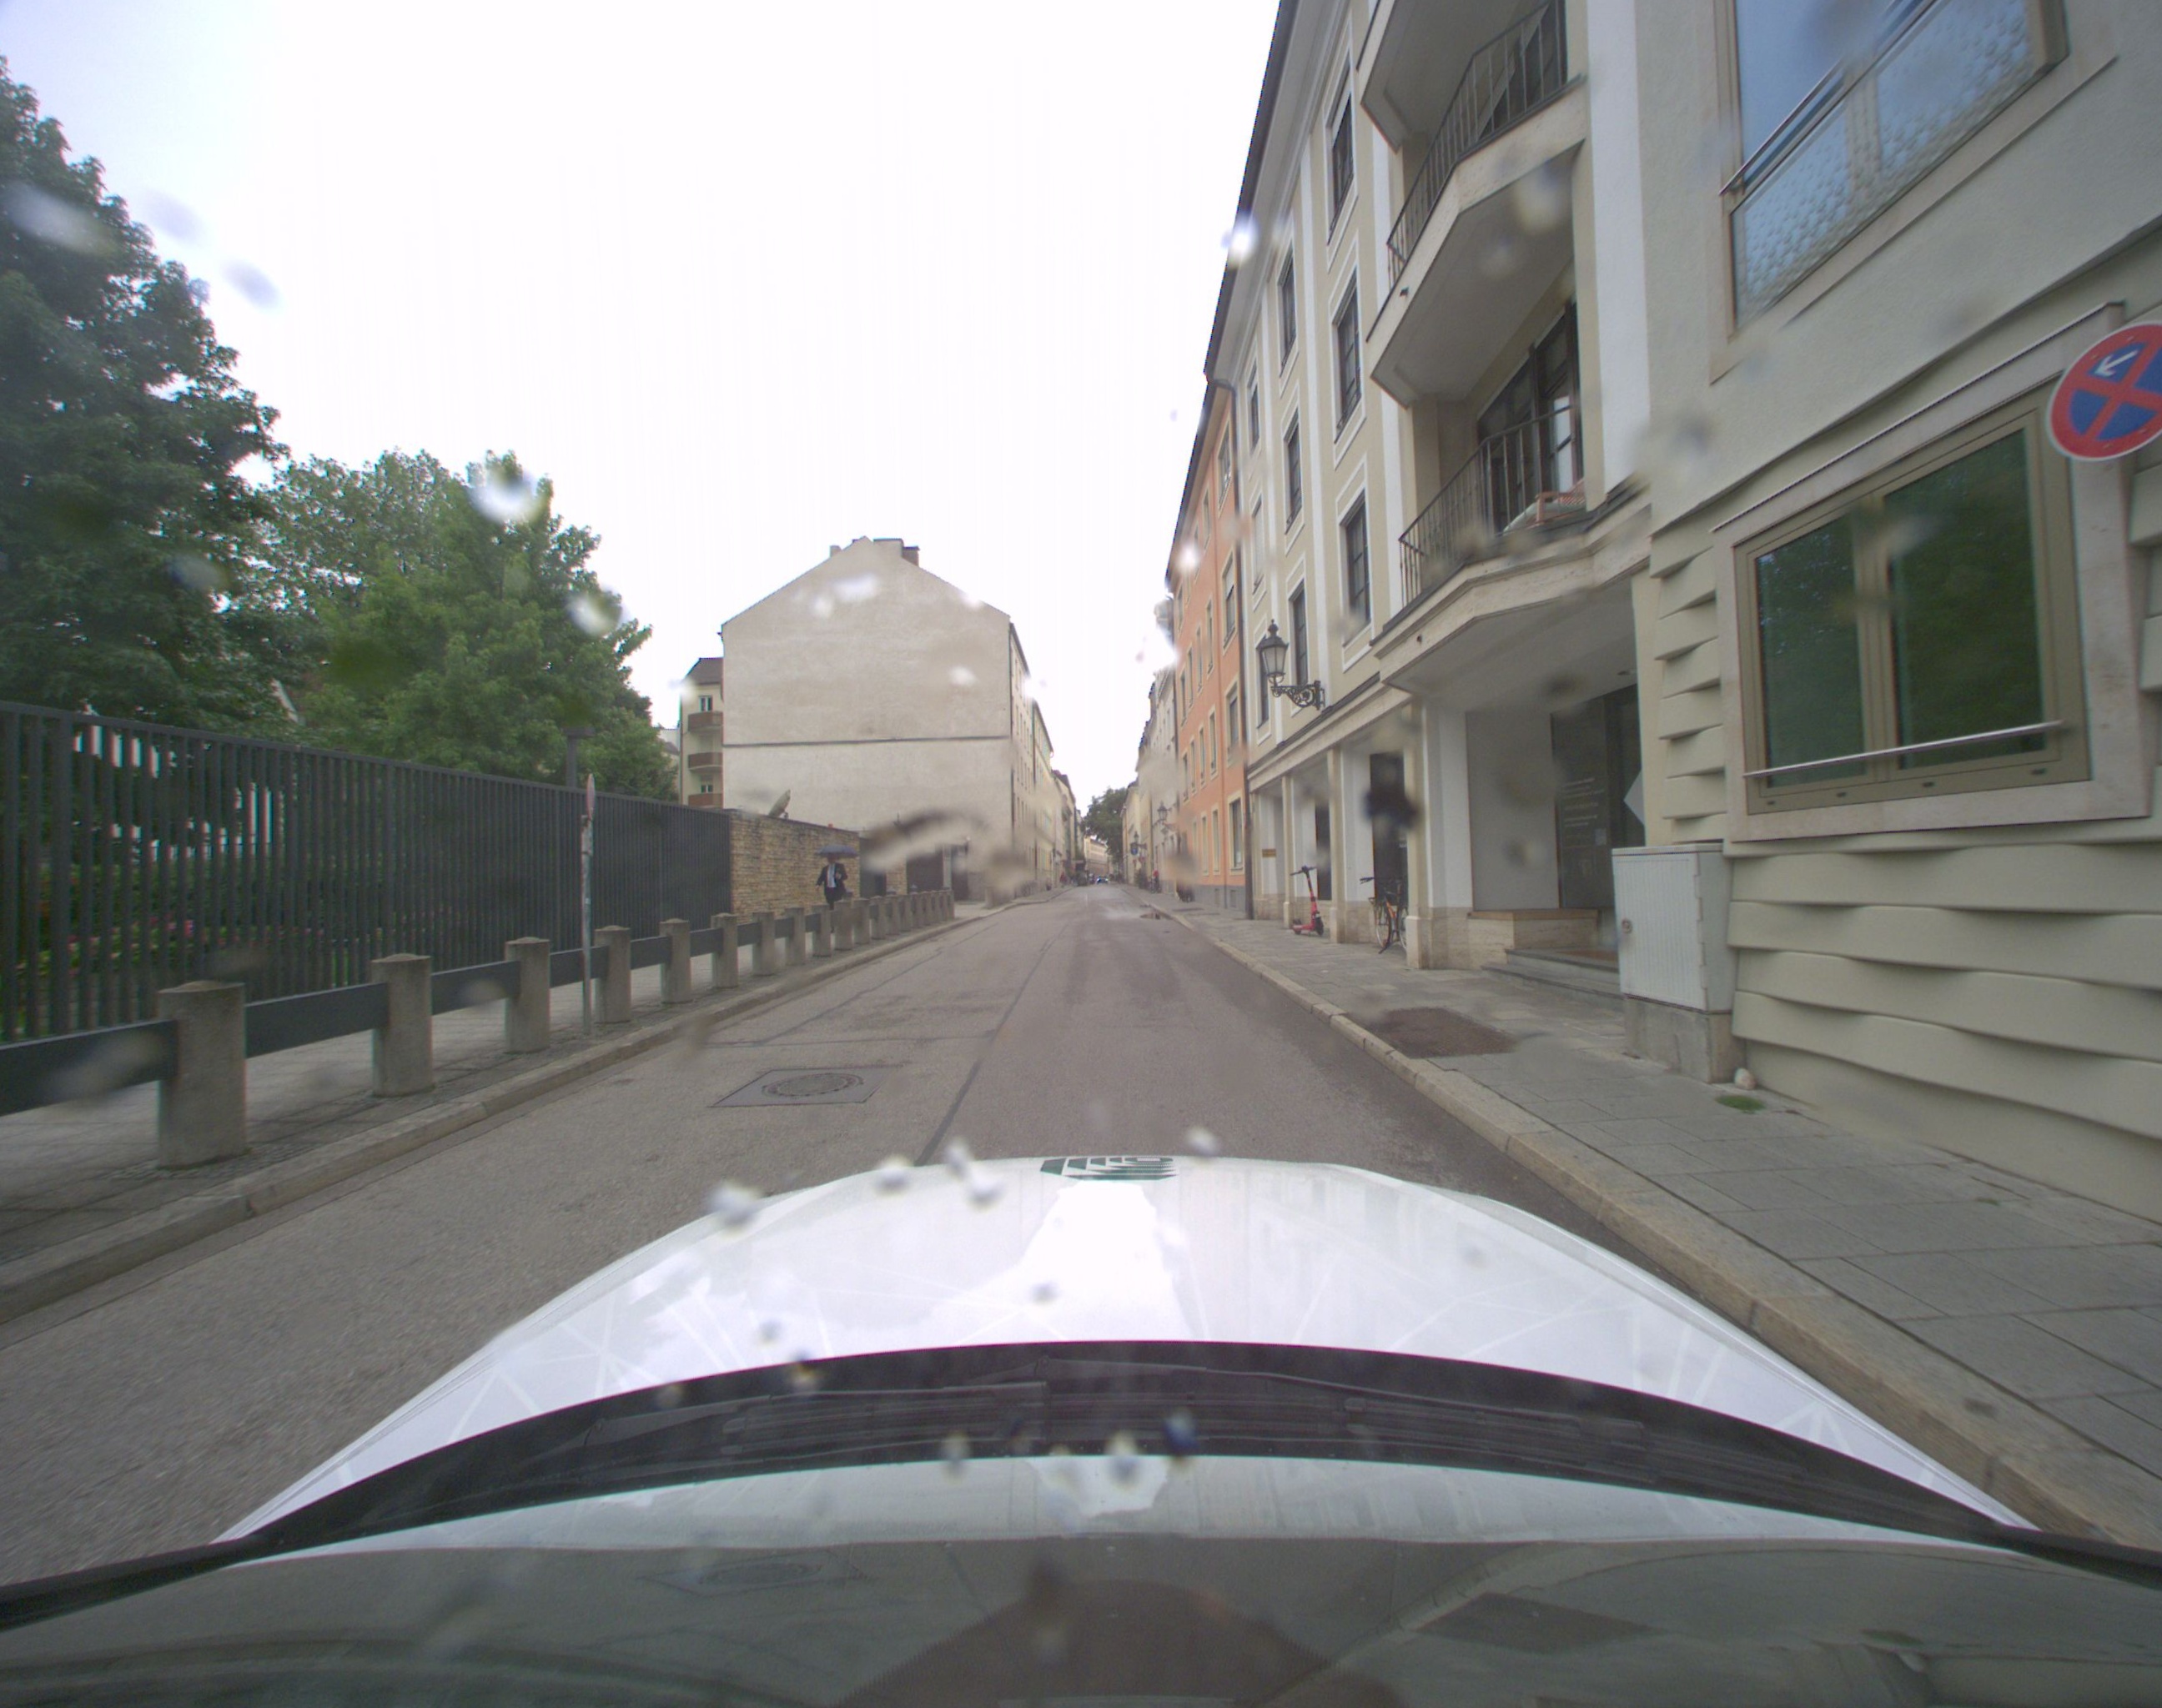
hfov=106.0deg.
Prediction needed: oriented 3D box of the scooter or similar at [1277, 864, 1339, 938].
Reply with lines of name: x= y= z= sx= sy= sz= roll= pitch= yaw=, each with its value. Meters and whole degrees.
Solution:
scooter or similar: x=4.081 y=0.828 z=14.735 sx=0.465 sy=1.259 sz=1.271 roll=-3 pitch=-1 yaw=-12

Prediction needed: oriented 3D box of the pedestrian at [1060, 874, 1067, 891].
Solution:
pedestrian: x=-1.908 y=3.074 z=87.885 sx=0.763 sy=1.708 sz=0.785 roll=-1 pitch=-2 yaw=-1

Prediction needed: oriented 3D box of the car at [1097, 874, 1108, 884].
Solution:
car: x=3.572 y=4.225 z=136.144 sx=1.806 sy=1.594 sz=3.999 roll=-1 pitch=-2 yaw=0

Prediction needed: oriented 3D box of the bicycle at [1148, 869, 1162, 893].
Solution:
bicycle: x=4.542 y=1.670 z=49.996 sx=0.710 sy=1.396 sz=2.123 roll=-4 pitch=-2 yaw=4

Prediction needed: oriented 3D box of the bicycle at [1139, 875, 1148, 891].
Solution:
bicycle: x=4.826 y=2.242 z=63.009 sx=0.563 sy=1.137 sz=1.684 roll=-3 pitch=-2 yaw=2

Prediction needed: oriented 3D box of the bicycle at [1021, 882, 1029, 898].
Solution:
bicycle: x=-3.495 y=2.237 z=50.947 sx=0.318 sy=0.944 sz=1.575 roll=1 pitch=-2 yaw=3

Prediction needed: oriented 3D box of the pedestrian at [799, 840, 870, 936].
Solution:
pedestrian: x=-5.640 y=0.773 z=18.716 sx=1.218 sy=2.104 sz=1.117 roll=-1 pitch=-1 yaw=3

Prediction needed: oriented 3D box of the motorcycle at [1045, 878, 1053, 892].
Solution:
motorcycle: x=-2.698 y=2.620 z=69.218 sx=0.600 sy=1.174 sz=1.709 roll=-1 pitch=-2 yaw=2

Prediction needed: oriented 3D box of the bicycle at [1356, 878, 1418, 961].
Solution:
bicycle: x=4.276 y=0.877 z=11.493 sx=0.461 sy=0.994 sz=2.085 roll=-3 pitch=0 yaw=11

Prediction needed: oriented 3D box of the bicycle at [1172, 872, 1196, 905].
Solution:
bicycle: x=4.159 y=1.367 z=33.055 sx=0.676 sy=1.240 sz=2.384 roll=-6 pitch=-2 yaw=3

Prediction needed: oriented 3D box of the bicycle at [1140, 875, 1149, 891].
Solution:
bicycle: x=4.735 y=2.198 z=61.071 sx=0.563 sy=1.137 sz=1.988 roll=-3 pitch=-2 yaw=2

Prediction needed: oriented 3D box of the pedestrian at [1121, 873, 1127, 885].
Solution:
pedestrian: x=6.534 y=3.774 z=123.646 sx=0.877 sy=1.802 sz=1.046 roll=0 pitch=-2 yaw=2
